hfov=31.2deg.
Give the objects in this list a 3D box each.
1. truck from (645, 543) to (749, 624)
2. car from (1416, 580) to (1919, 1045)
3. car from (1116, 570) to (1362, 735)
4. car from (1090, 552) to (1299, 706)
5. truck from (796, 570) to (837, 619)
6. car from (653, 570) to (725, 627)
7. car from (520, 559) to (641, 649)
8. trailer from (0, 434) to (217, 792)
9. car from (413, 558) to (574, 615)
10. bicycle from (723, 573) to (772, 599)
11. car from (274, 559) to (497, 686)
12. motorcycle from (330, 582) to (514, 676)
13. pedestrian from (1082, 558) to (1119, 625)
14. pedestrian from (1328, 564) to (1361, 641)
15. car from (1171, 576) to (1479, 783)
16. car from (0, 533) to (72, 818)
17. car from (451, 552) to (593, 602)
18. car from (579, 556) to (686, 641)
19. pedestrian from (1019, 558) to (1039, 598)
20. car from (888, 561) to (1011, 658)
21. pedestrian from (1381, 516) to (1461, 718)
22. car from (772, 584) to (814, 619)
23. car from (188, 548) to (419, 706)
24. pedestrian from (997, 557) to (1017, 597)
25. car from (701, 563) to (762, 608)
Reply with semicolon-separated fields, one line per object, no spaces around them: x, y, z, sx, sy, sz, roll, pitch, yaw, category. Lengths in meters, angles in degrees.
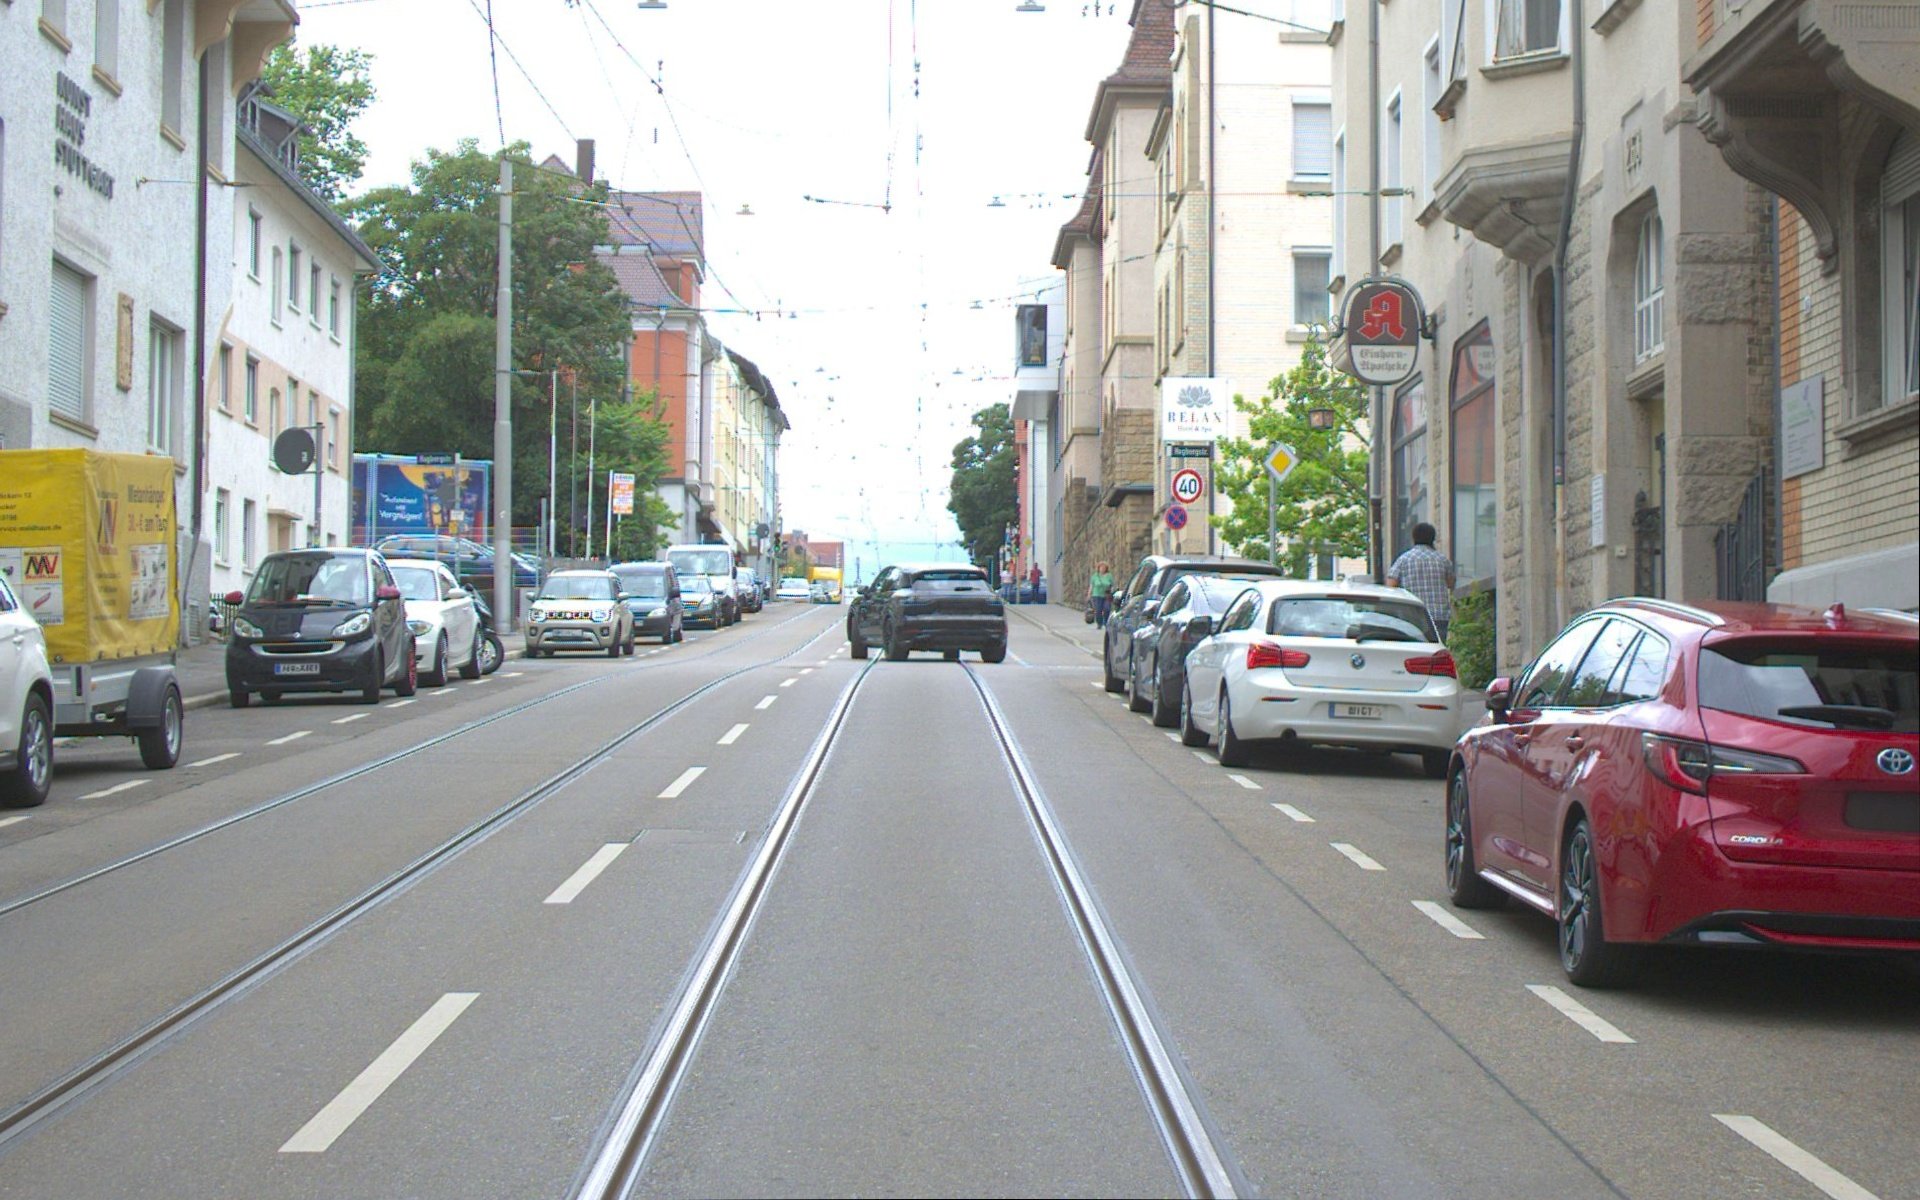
-7.462;-0.497;98.444;2.280;2.180;8.025;1;1;0;truck
3.072;0.707;13.640;1.779;1.470;4.590;3;1;-1;car
2.605;0.448;33.124;1.779;1.386;4.692;3;1;-2;car
2.550;0.277;38.365;1.735;1.532;4.575;3;1;-3;car
-9.120;-0.332;219.343;2.302;3.026;9.034;1;0;-1;truck
-7.188;-0.060;91.505;1.697;1.428;4.482;-1;1;-2;car
-6.825;0.054;62.137;1.697;1.551;3.850;1;1;1;car
-6.261;0.056;22.755;1.748;2.148;4.071;-2;1;0;trailer
-12.386;-0.371;91.442;4.060;1.440;1.688;1;1;-1;car
-8.447;-0.554;136.884;1.911;0.996;0.479;1;0;0;bicycle
-6.518;0.220;39.425;1.780;1.353;4.291;1;1;1;car
-6.667;0.360;42.625;2.110;1.130;0.766;-1;1;13;motorcycle
3.536;-0.215;86.615;0.870;1.680;0.663;-1;0;-2;pedestrian
7.894;0.049;70.596;0.558;1.577;0.686;1;0;0;pedestrian
2.750;0.557;26.812;1.750;1.386;4.308;3;1;-2;car
-6.217;0.457;18.573;1.697;1.588;4.268;-2;1;0;car
-12.577;-0.669;98.799;3.876;1.352;1.688;1;1;-1;car
-6.941;-0.057;73.270;1.744;1.730;4.519;-1;1;1;car
2.892;-0.939;143.798;0.791;1.661;0.798;1;0;2;pedestrian
-0.172;0.128;58.426;1.993;1.558;4.290;1;1;0;car
4.151;0.151;30.987;0.599;1.797;0.632;1;0;-1;pedestrian
-8.090;0.060;166.564;1.855;1.601;4.297;1;1;-1;car
-6.493;0.243;34.274;1.697;1.463;3.023;-2;1;0;car
1.951;-0.965;143.825;0.791;1.661;0.798;1;0;2;pedestrian
-7.515;-0.495;113.445;1.712;1.441;4.290;1;1;0;car
